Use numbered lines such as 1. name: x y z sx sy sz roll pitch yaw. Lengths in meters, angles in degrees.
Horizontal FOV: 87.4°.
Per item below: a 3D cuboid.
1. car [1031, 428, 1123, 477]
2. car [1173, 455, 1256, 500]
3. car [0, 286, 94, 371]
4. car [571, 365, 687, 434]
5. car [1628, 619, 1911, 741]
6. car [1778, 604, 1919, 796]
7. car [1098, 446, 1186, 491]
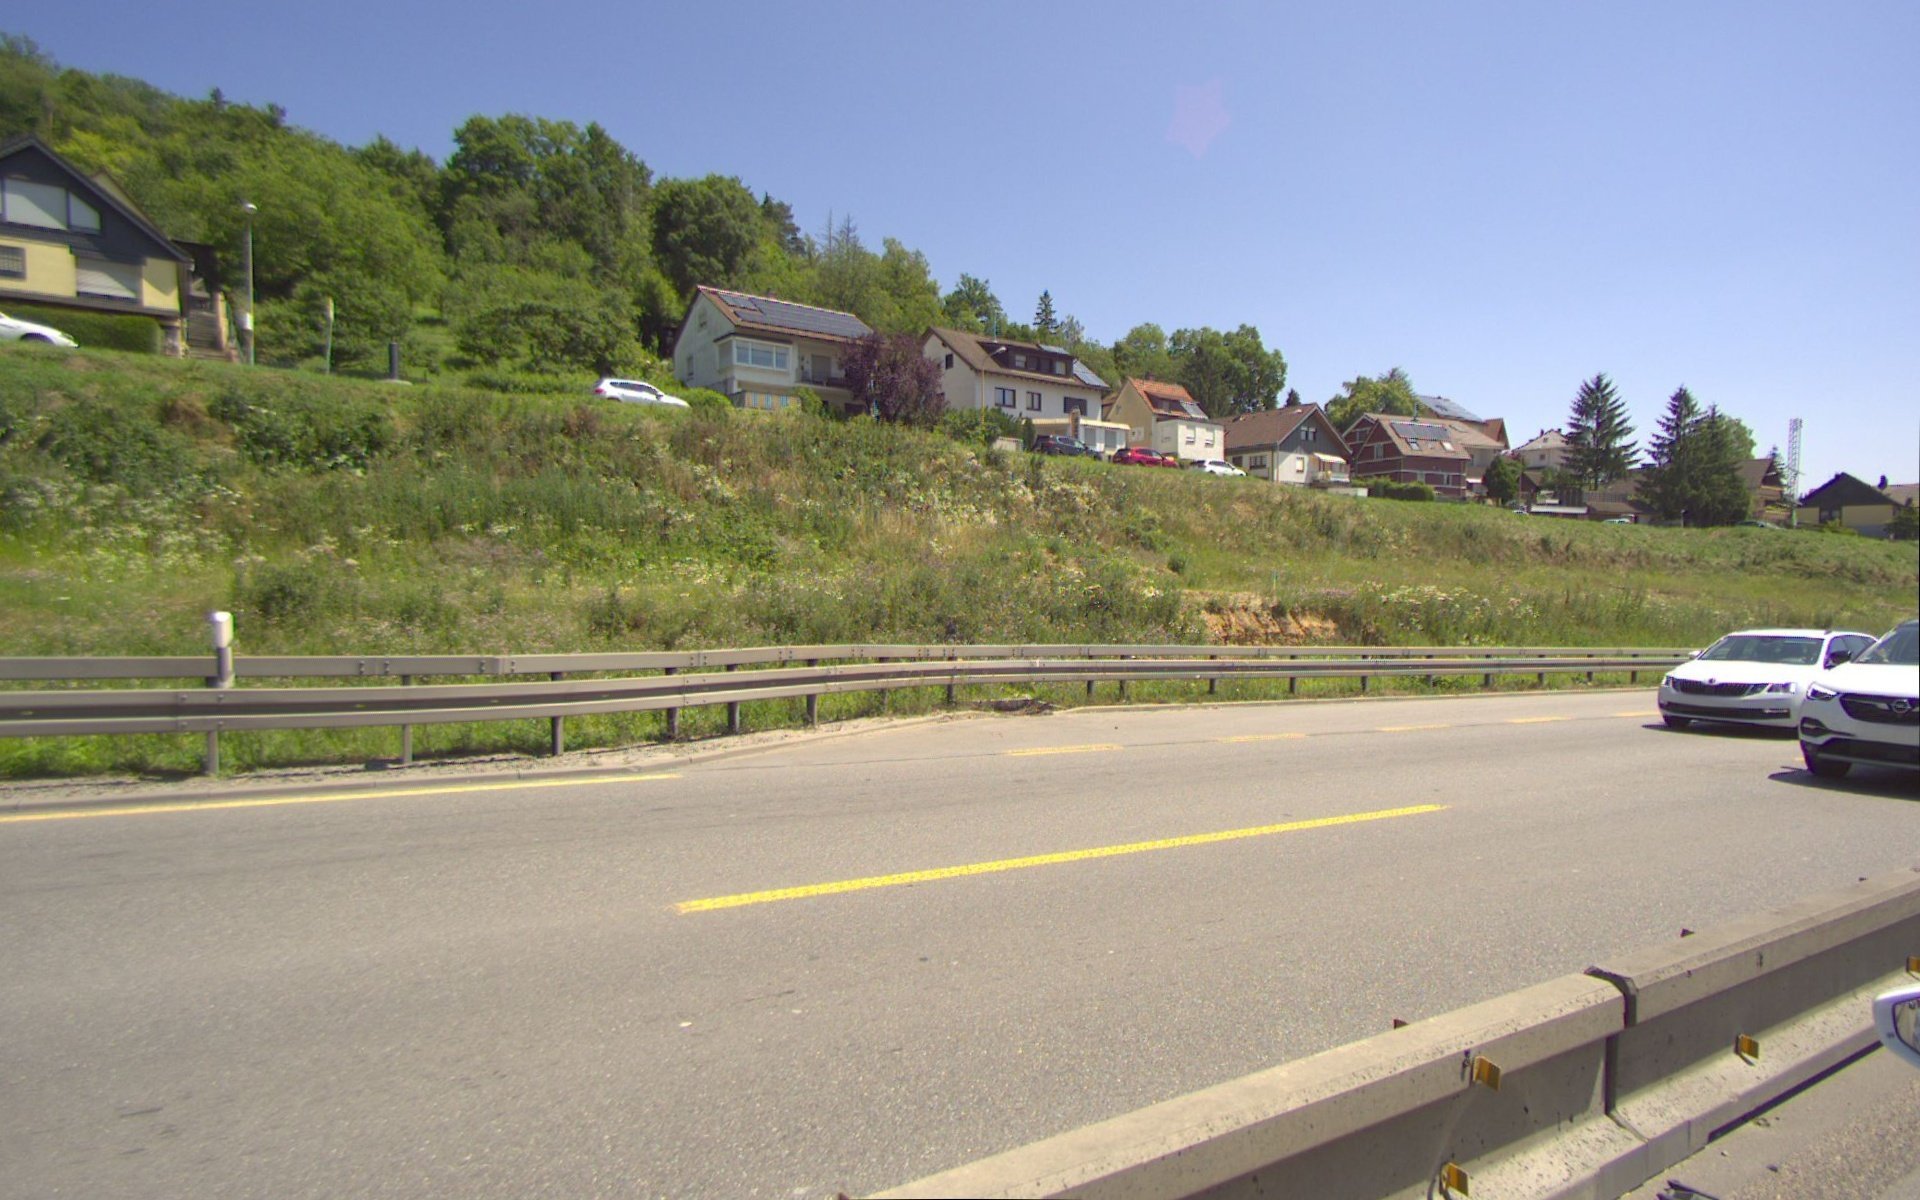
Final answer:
1. car: 6.333 -7.897 54.151 4.720 1.817 2.162 3 -1 -37
2. car: 15.810 -7.544 62.380 4.768 2.068 2.334 3 -1 -33
3. car: -29.117 -8.306 29.791 4.966 1.817 1.979 3 -1 -37
4. car: -13.264 -7.970 40.306 3.963 1.817 1.979 3 -1 -37
5. car: 11.846 1.070 14.621 4.547 1.517 1.795 1 -1 -31
6. car: 10.028 0.912 9.883 4.124 1.662 1.797 1 -1 -31
7. car: 10.679 -7.644 58.832 4.751 1.817 2.334 3 -1 -34
